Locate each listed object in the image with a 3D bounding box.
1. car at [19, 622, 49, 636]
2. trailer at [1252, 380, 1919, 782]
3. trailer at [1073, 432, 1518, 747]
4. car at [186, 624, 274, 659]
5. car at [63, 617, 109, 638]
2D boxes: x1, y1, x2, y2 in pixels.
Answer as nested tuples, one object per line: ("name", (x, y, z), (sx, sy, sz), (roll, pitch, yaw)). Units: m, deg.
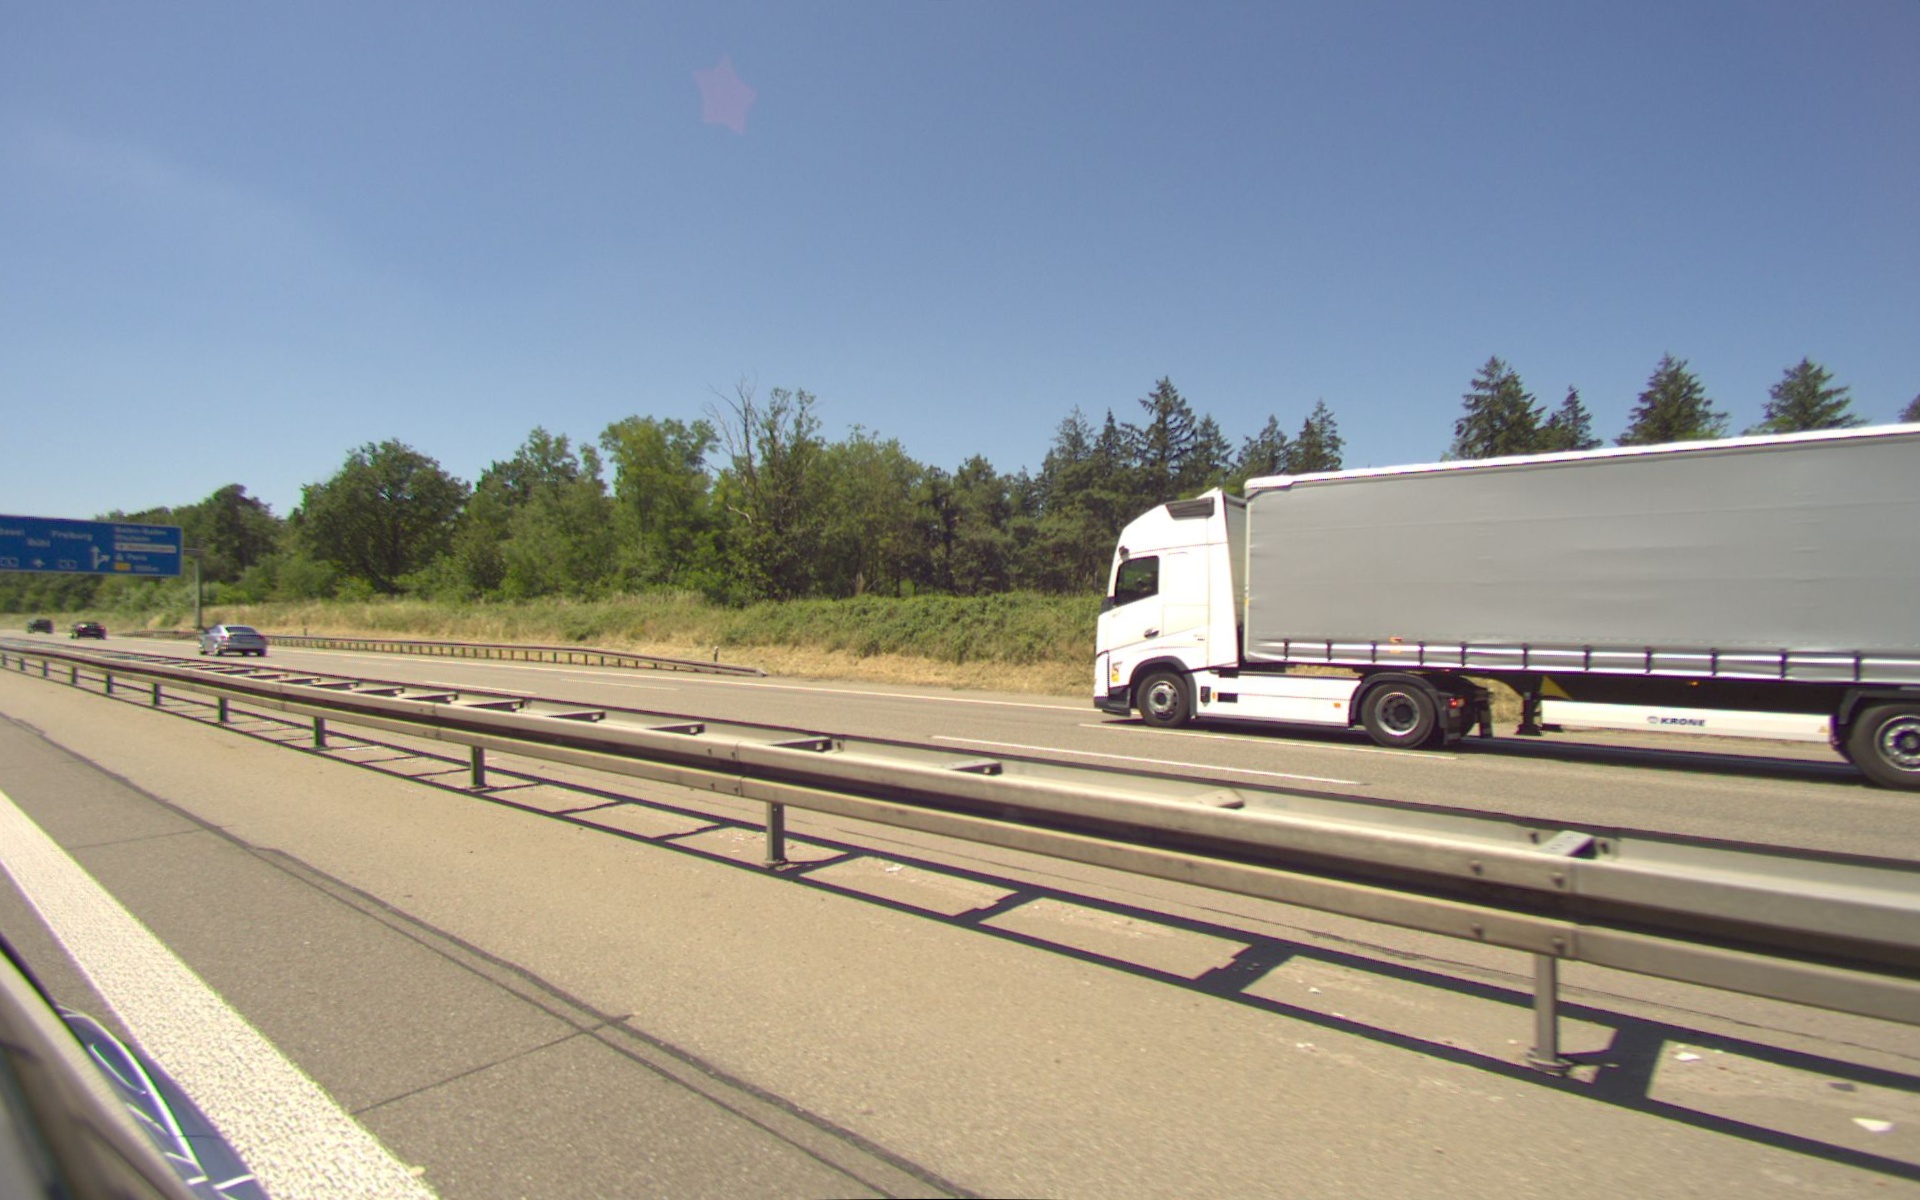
("car", (-101.397, 3.174, 110.848), (4.947, 1.566, 1.812), (-1, -3, 41))
("trailer", (10.812, -0.123, 12.087), (14.119, 4.230, 3.122), (-1, -4, 41))
("trailer", (5.402, -0.030, 16.845), (6.323, 4.230, 3.122), (-1, -4, 41))
("car", (-32.294, 1.796, 44.694), (5.287, 1.440, 1.941), (-1, -3, 41))
("car", (-68.599, 2.149, 79.410), (5.287, 1.537, 1.941), (-1, -3, 41))
